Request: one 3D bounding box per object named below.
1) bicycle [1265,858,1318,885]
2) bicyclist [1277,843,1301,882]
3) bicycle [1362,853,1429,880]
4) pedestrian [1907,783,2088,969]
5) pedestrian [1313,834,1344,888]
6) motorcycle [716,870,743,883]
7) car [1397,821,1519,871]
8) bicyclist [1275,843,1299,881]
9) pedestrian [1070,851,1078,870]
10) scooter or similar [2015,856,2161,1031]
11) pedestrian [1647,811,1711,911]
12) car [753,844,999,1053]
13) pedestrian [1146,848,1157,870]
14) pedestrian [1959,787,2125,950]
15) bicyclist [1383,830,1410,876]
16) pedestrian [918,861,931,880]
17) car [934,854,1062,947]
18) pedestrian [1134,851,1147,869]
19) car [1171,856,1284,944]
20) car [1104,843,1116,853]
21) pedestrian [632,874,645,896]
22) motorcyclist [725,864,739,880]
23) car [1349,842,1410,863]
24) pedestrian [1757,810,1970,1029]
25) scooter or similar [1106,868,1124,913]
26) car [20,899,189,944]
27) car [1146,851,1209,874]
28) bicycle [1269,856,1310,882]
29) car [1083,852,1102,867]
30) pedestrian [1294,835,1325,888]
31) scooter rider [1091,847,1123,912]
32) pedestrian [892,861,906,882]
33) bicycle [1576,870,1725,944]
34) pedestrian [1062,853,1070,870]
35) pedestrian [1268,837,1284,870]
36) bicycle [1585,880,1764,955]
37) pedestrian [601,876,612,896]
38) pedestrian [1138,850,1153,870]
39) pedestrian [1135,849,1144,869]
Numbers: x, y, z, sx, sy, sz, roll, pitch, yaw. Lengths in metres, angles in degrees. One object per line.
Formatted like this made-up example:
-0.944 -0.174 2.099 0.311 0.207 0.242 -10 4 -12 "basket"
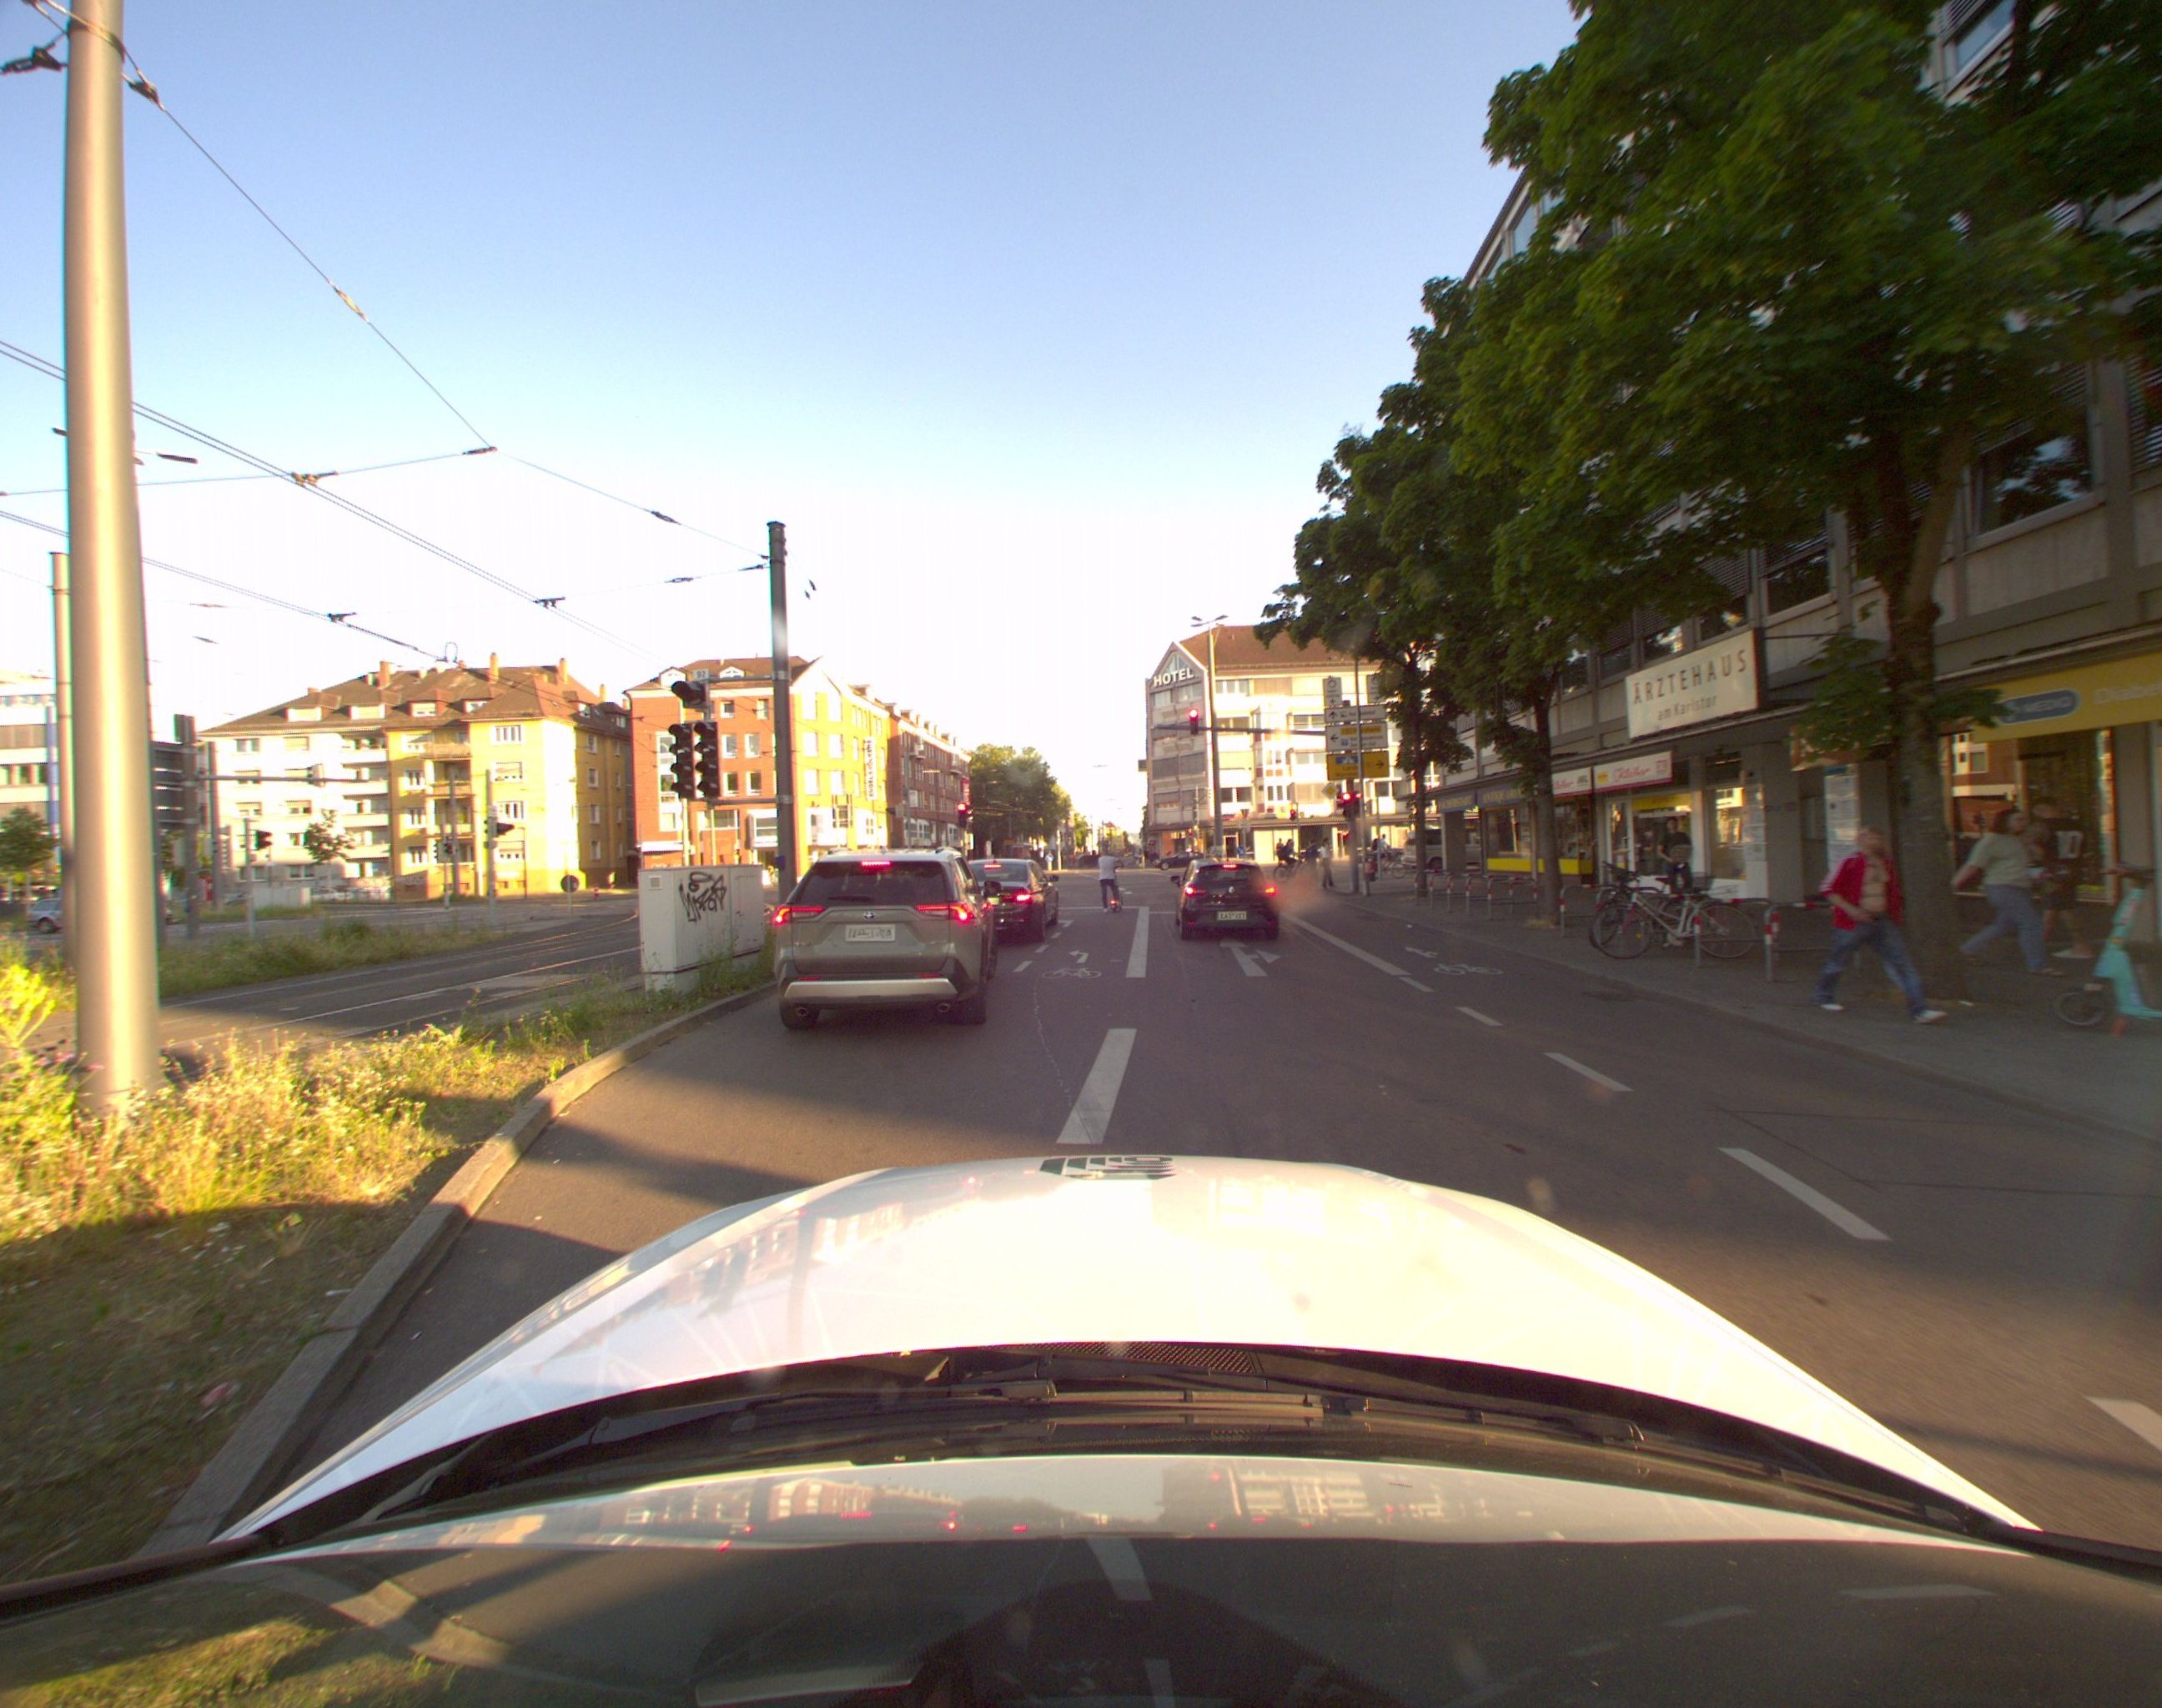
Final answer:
8.450 0.688 32.705 2.030 1.028 0.417 -2 0 -2 "bicycle"
8.352 0.347 32.719 0.702 1.511 0.549 -4 0 -2 "bicyclist"
13.095 0.505 33.934 2.633 1.099 0.435 -1 0 -2 "bicycle"
9.307 0.215 8.322 0.742 1.778 0.975 -1 -1 6 "pedestrian"
8.591 0.240 28.257 0.719 1.830 1.004 -1 -1 38 "pedestrian"
-26.465 1.707 61.402 1.828 0.908 0.432 -1 0 -1 "motorcycle"
16.899 -0.356 36.743 4.650 2.013 2.008 -2 0 13 "car"
8.522 0.321 33.696 0.702 1.511 0.549 -4 0 -3 "bicyclist"
-0.665 0.648 80.513 0.697 1.823 0.809 -1 0 6 "pedestrian"
7.637 0.628 5.821 0.296 1.217 1.206 0 -2 -40 "scooter or similar"
10.955 0.129 14.946 0.740 1.778 0.804 -1 -1 23 "pedestrian"
-1.849 0.734 8.640 1.832 1.636 4.084 -1 1 -5 "car"
7.696 0.541 88.929 1.079 2.365 1.057 -1 0 5 "pedestrian"
10.482 0.157 8.927 0.742 1.684 0.896 -1 -1 5 "pedestrian"
13.170 -0.029 33.978 0.858 1.878 0.646 -1 0 -3 "bicyclist"
-16.283 1.693 84.776 1.089 2.014 1.164 -1 0 2 "pedestrian"
-1.420 0.768 15.609 1.737 1.460 4.414 -1 0 3 "car"
5.348 0.562 73.217 0.726 1.623 0.764 -2 0 -34 "pedestrian"
2.679 0.785 15.712 1.756 1.440 4.005 -1 0 5 "car"
5.816 -1.225 162.595 1.984 1.900 4.006 -1 0 5 "car"
-35.097 2.468 64.602 0.682 1.743 0.672 -2 -1 30 "pedestrian"
-26.321 1.345 61.404 0.702 1.220 0.788 -1 0 -2 "motorcyclist"
22.731 -0.112 62.082 3.971 1.476 2.001 -1 0 2 "car"
6.578 0.502 6.893 0.826 1.685 1.041 0 0 -21 "pedestrian"
0.870 0.913 20.675 0.277 1.090 1.261 -1 0 11 "scooter or similar"
-40.394 2.782 33.788 4.329 1.551 1.997 -2 0 -4 "car"
7.294 0.669 61.787 4.535 1.620 1.998 -1 0 1 "car"
8.628 0.615 33.700 1.607 1.028 0.353 -2 0 -3 "bicycle"
1.384 0.657 96.257 1.802 1.746 3.721 -1 0 6 "car"
8.108 0.252 28.902 0.719 1.830 1.004 -1 -1 39 "pedestrian"
0.669 0.645 20.805 0.657 1.647 0.663 -1 0 12 "scooter rider"
-17.865 1.675 79.864 1.089 2.014 0.909 -1 0 2 "pedestrian"
7.751 0.712 11.128 1.647 0.974 0.387 -1 0 11 "bicycle"
-1.448 0.724 80.644 0.697 1.664 0.809 -1 0 6 "pedestrian"
10.432 -0.028 43.647 0.742 1.778 0.802 -1 -1 6 "pedestrian"
7.435 0.790 10.259 1.806 0.891 0.416 -1 0 11 "bicycle"
-39.168 2.610 67.201 0.548 1.642 0.501 -1 0 3 "pedestrian"
5.713 0.553 72.269 0.939 1.726 0.843 0 -1 -37 "pedestrian"
6.366 0.570 89.232 0.928 2.196 0.852 -1 0 1 "pedestrian"
